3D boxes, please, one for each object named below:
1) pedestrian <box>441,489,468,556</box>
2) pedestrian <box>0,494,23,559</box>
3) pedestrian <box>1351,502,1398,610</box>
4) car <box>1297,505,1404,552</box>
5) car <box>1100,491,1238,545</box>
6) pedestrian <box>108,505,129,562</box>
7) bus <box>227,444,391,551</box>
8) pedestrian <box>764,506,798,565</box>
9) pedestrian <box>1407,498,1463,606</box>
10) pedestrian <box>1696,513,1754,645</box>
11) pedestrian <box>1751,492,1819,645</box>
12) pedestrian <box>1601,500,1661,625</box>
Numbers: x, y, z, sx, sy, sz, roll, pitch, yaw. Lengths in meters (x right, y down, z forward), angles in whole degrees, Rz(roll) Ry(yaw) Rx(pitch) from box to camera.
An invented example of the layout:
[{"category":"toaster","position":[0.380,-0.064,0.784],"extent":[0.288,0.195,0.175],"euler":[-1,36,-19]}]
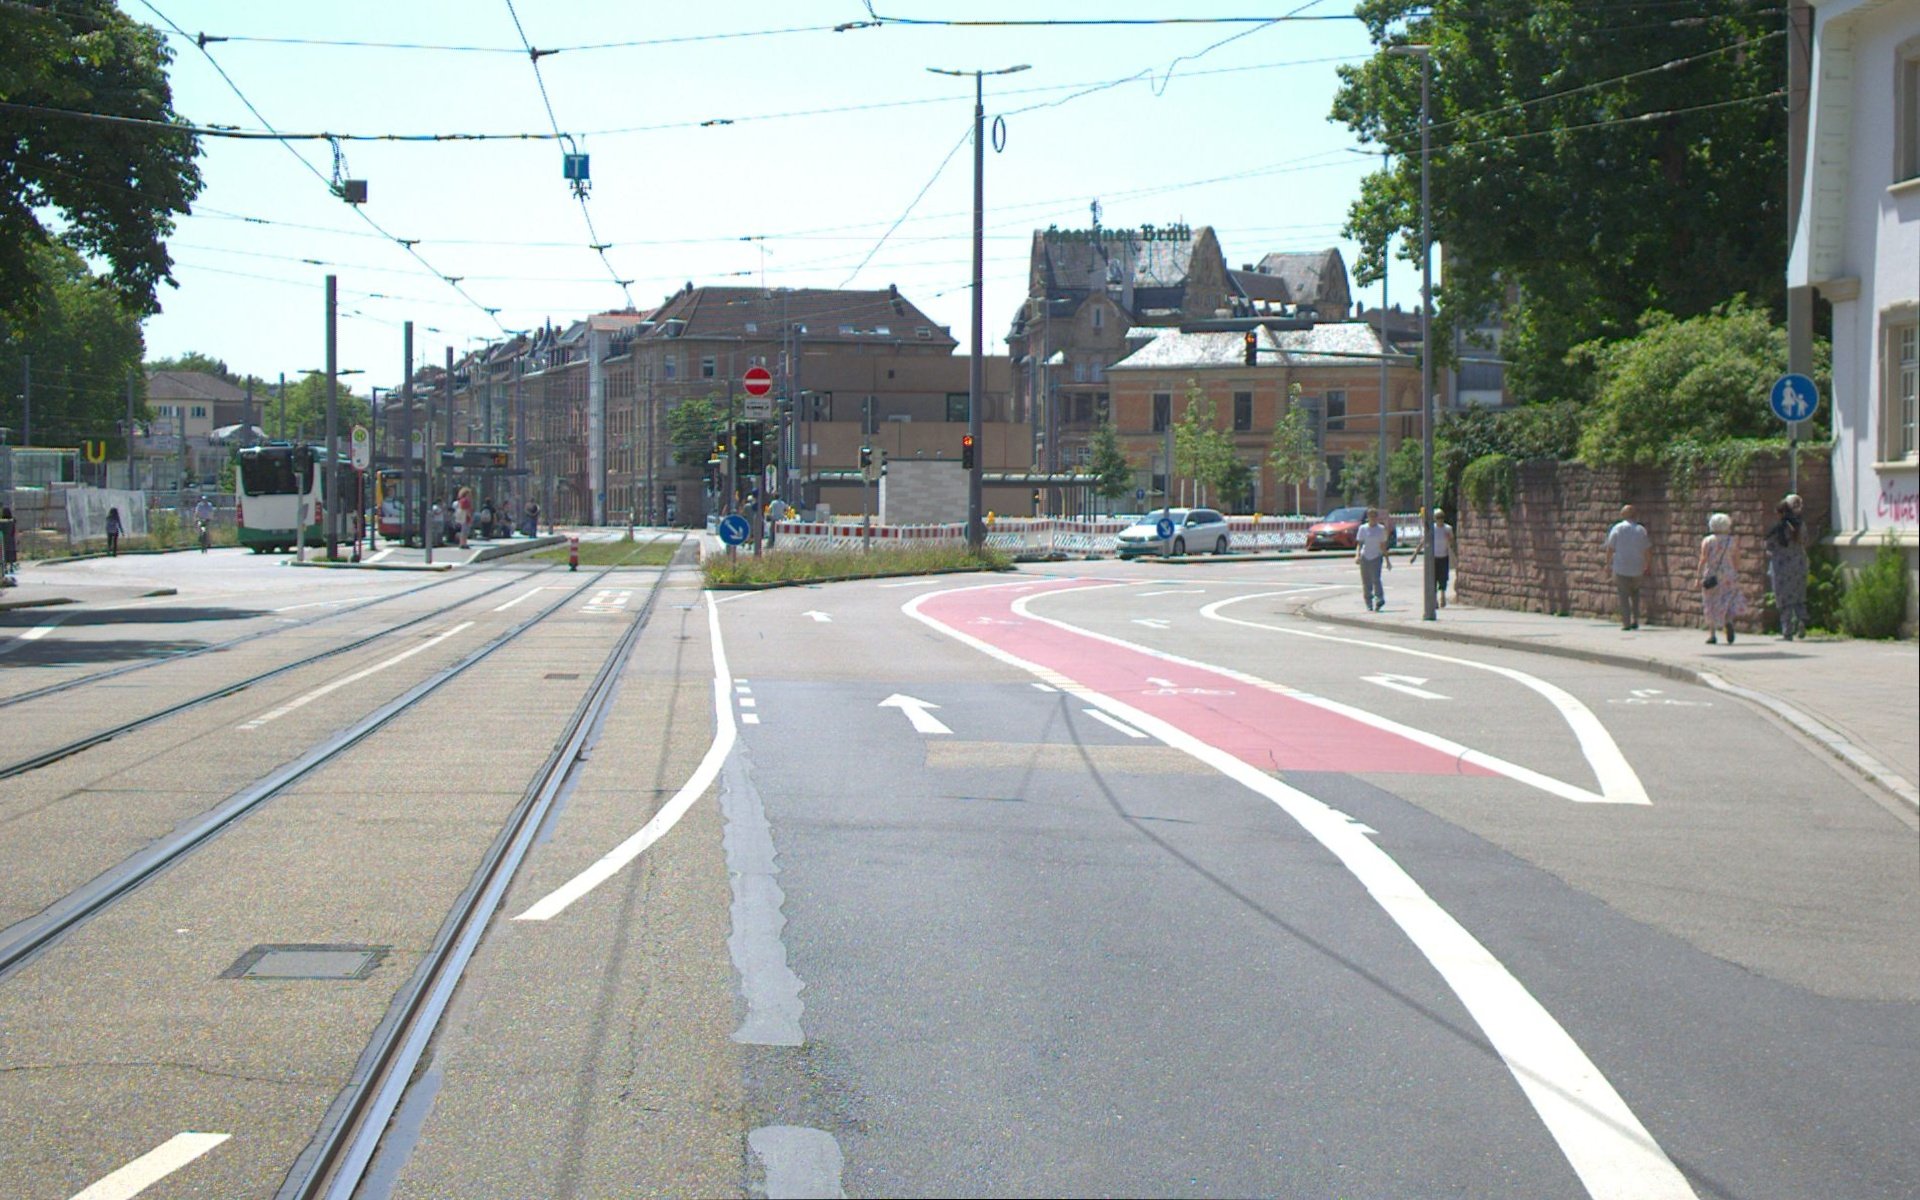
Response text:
[{"category":"pedestrian","position":[-14.547,-2.229,98.906],"extent":[0.672,1.903,0.641],"euler":[1,1,-14]},{"category":"pedestrian","position":[-23.627,-1.819,84.991],"extent":[0.606,1.597,0.825],"euler":[1,1,6]},{"category":"pedestrian","position":[6.960,-0.742,57.803],"extent":[0.677,1.801,0.748],"euler":[1,1,0]},{"category":"car","position":[12.460,-2.277,109.633],"extent":[1.734,1.420,4.116],"euler":[1,1,33]},{"category":"car","position":[6.069,-2.364,99.389],"extent":[1.997,1.433,4.697],"euler":[1,1,31]},{"category":"pedestrian","position":[-25.023,-1.973,102.197],"extent":[0.566,1.699,0.397],"euler":[1,1,-11]},{"category":"bus","position":[-20.729,-3.275,110.575],"extent":[3.010,3.147,17.501],"euler":[1,2,-4]},{"category":"pedestrian","position":[-5.686,-2.052,109.280],"extent":[0.765,1.858,0.730],"euler":[1,0,-45]},{"category":"pedestrian","position":[8.003,-0.817,57.982],"extent":[0.814,1.801,0.700],"euler":[1,1,0]},{"category":"pedestrian","position":[8.914,-0.251,40.073],"extent":[0.515,1.527,0.597],"euler":[1,1,1]},{"category":"pedestrian","position":[9.712,-0.380,40.493],"extent":[0.627,1.767,0.718],"euler":[-2,2,5]},{"category":"pedestrian","position":[8.948,-0.507,45.850],"extent":[0.660,1.641,0.624],"euler":[1,1,1]}]
